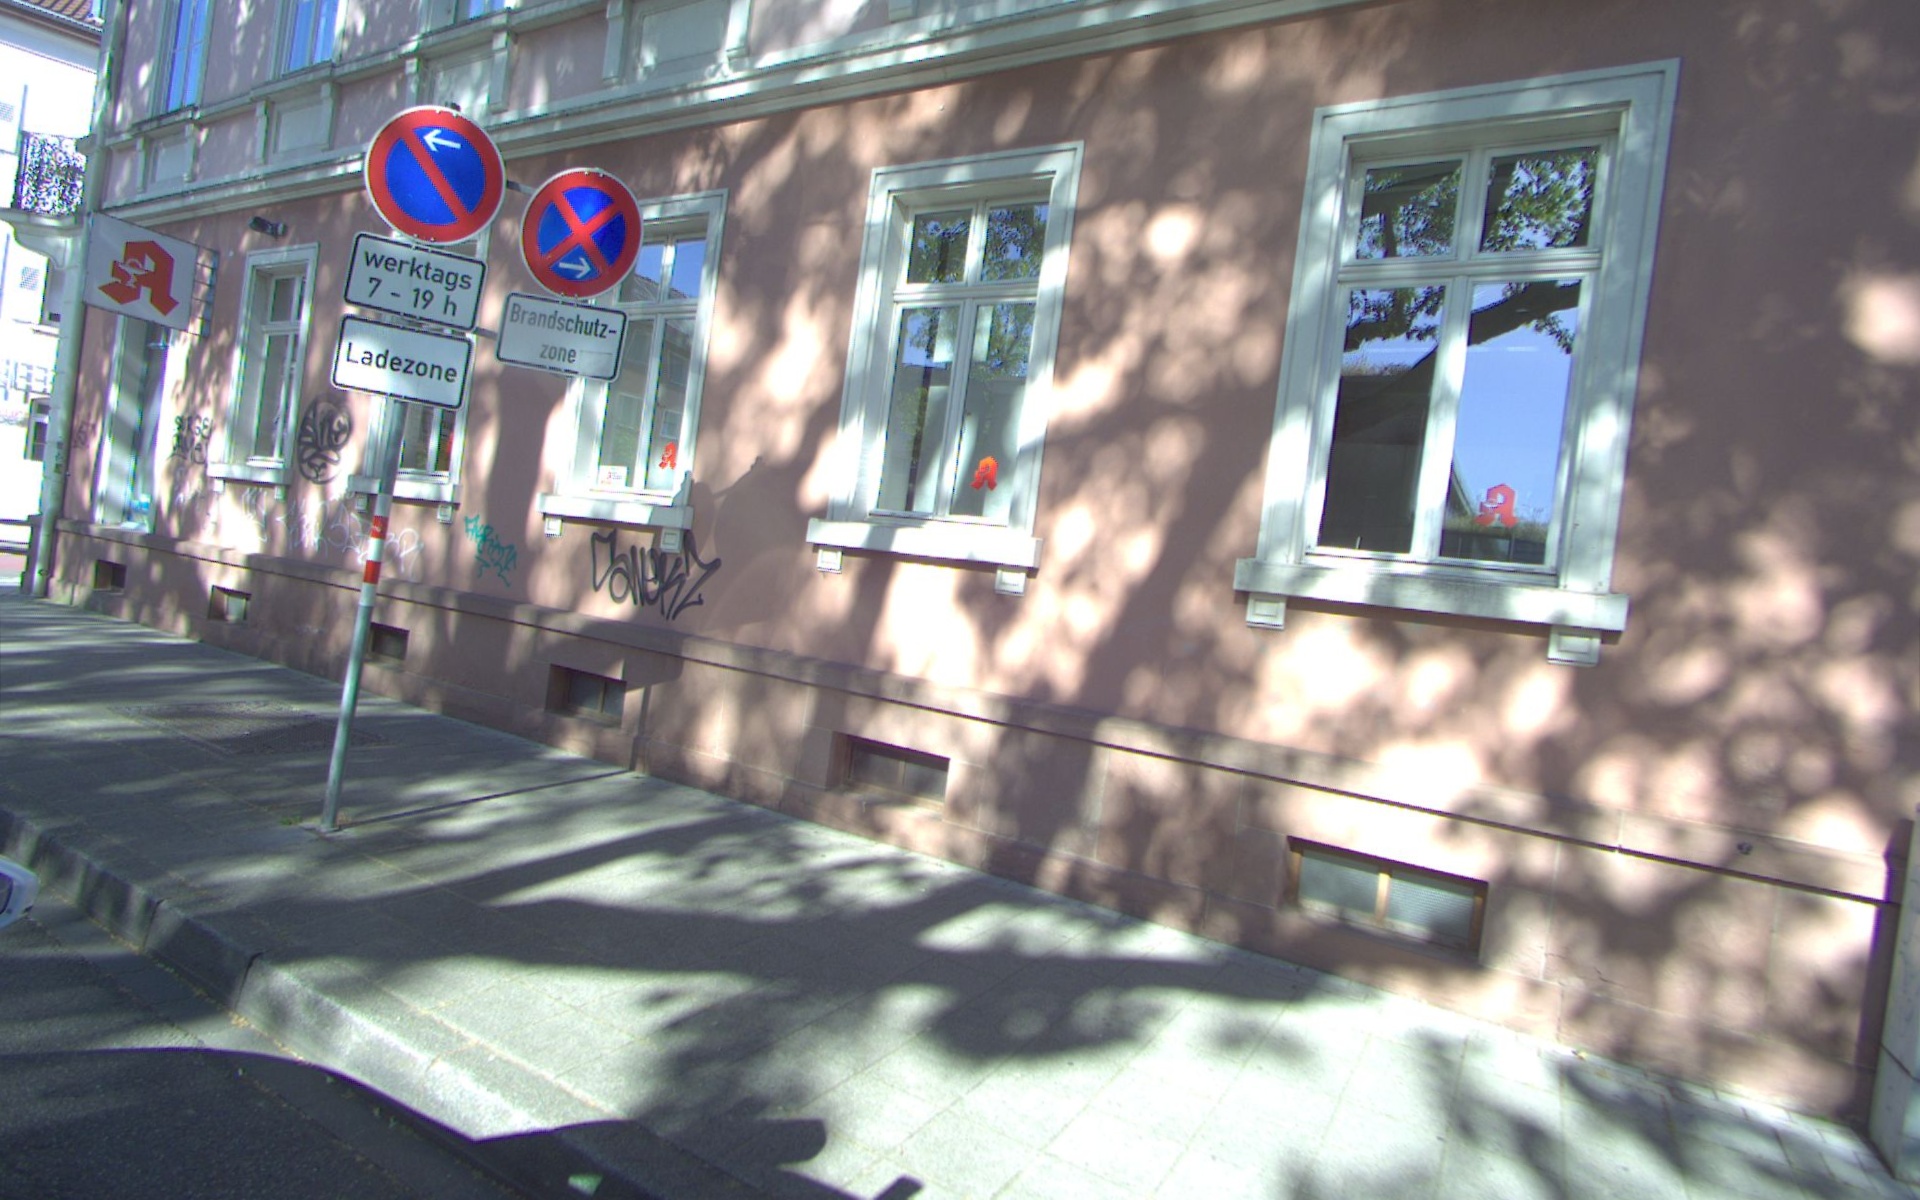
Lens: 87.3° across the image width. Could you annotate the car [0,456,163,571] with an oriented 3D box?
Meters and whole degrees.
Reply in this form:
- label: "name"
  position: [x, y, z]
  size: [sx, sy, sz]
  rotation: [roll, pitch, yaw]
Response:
- label: "car"
  position: [-19.764, -1.919, 20.791]
  size: [4.862, 1.950, 1.982]
  rotation: [9, -3, -35]
